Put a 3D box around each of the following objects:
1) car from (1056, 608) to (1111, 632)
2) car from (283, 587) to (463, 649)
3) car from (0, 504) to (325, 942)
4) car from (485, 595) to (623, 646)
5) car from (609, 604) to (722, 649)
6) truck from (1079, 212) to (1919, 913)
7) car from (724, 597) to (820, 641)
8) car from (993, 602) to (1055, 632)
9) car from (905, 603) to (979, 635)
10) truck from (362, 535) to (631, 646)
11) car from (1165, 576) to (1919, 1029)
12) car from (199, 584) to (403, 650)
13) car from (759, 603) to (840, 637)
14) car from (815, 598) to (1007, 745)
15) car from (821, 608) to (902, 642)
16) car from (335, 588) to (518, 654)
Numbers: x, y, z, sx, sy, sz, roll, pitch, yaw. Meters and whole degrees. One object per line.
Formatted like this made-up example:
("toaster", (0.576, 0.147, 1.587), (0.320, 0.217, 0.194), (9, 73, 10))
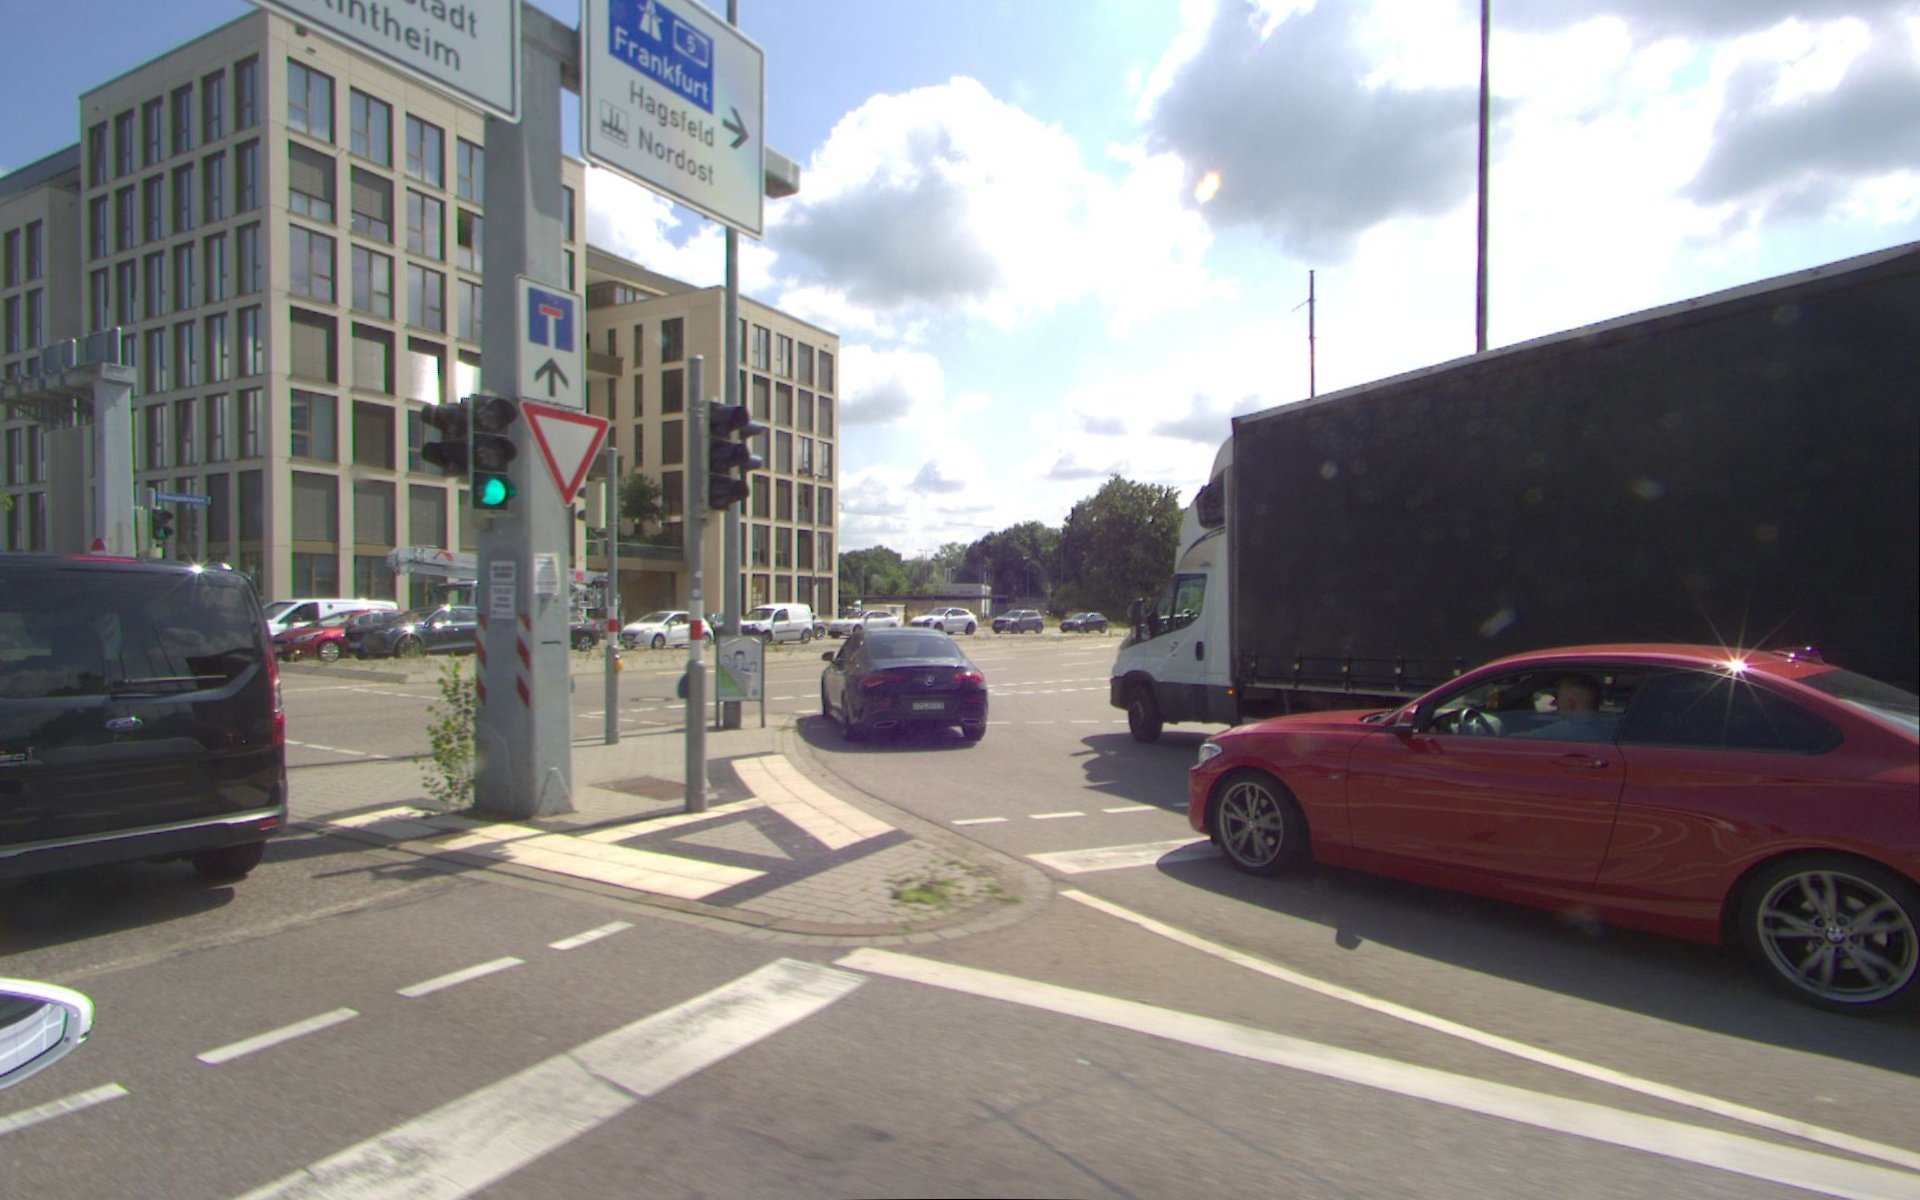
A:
("car", (9.021, 1.458, 72.780), (1.808, 1.634, 4.409), (-1, -3, 42))
("car", (-16.745, 0.558, 28.816), (1.798, 1.647, 4.201), (0, -2, 24))
("car", (-5.700, 0.566, 5.822), (3.941, 1.929, 1.821), (0, -1, 31))
("car", (-13.949, 0.756, 34.633), (1.801, 1.647, 4.194), (-1, -2, 30))
("car", (-11.463, 1.064, 39.234), (1.800, 1.647, 4.196), (-1, -2, 29))
("truck", (5.107, -0.065, 10.046), (3.176, 4.078, 9.030), (1, -2, -28))
("car", (-8.344, 0.905, 44.914), (1.801, 1.861, 4.427), (-1, -2, 30))
("car", (4.294, 1.171, 67.173), (1.808, 1.861, 4.409), (-1, -3, 42))
("car", (-1.051, 1.180, 61.463), (1.808, 1.861, 4.676), (-1, -3, 42))
("truck", (-16.823, -0.111, 37.502), (2.631, 3.600, 9.757), (0, -2, 25))
("car", (3.351, 0.816, 5.397), (1.845, 1.676, 4.184), (2, -3, -40))
("car", (-20.084, 0.581, 30.802), (1.967, 1.861, 4.979), (0, -2, 24))
("car", (-8.280, 1.072, 52.047), (1.801, 1.643, 4.427), (-1, -2, 30))
("car", (-0.852, 0.911, 13.789), (1.831, 1.676, 4.215), (3, -2, -13))
("car", (-5.483, 1.434, 56.129), (1.805, 1.861, 4.693), (-1, -2, 38))
("car", (-14.446, 0.610, 27.375), (1.798, 1.647, 4.201), (0, -2, 24))
